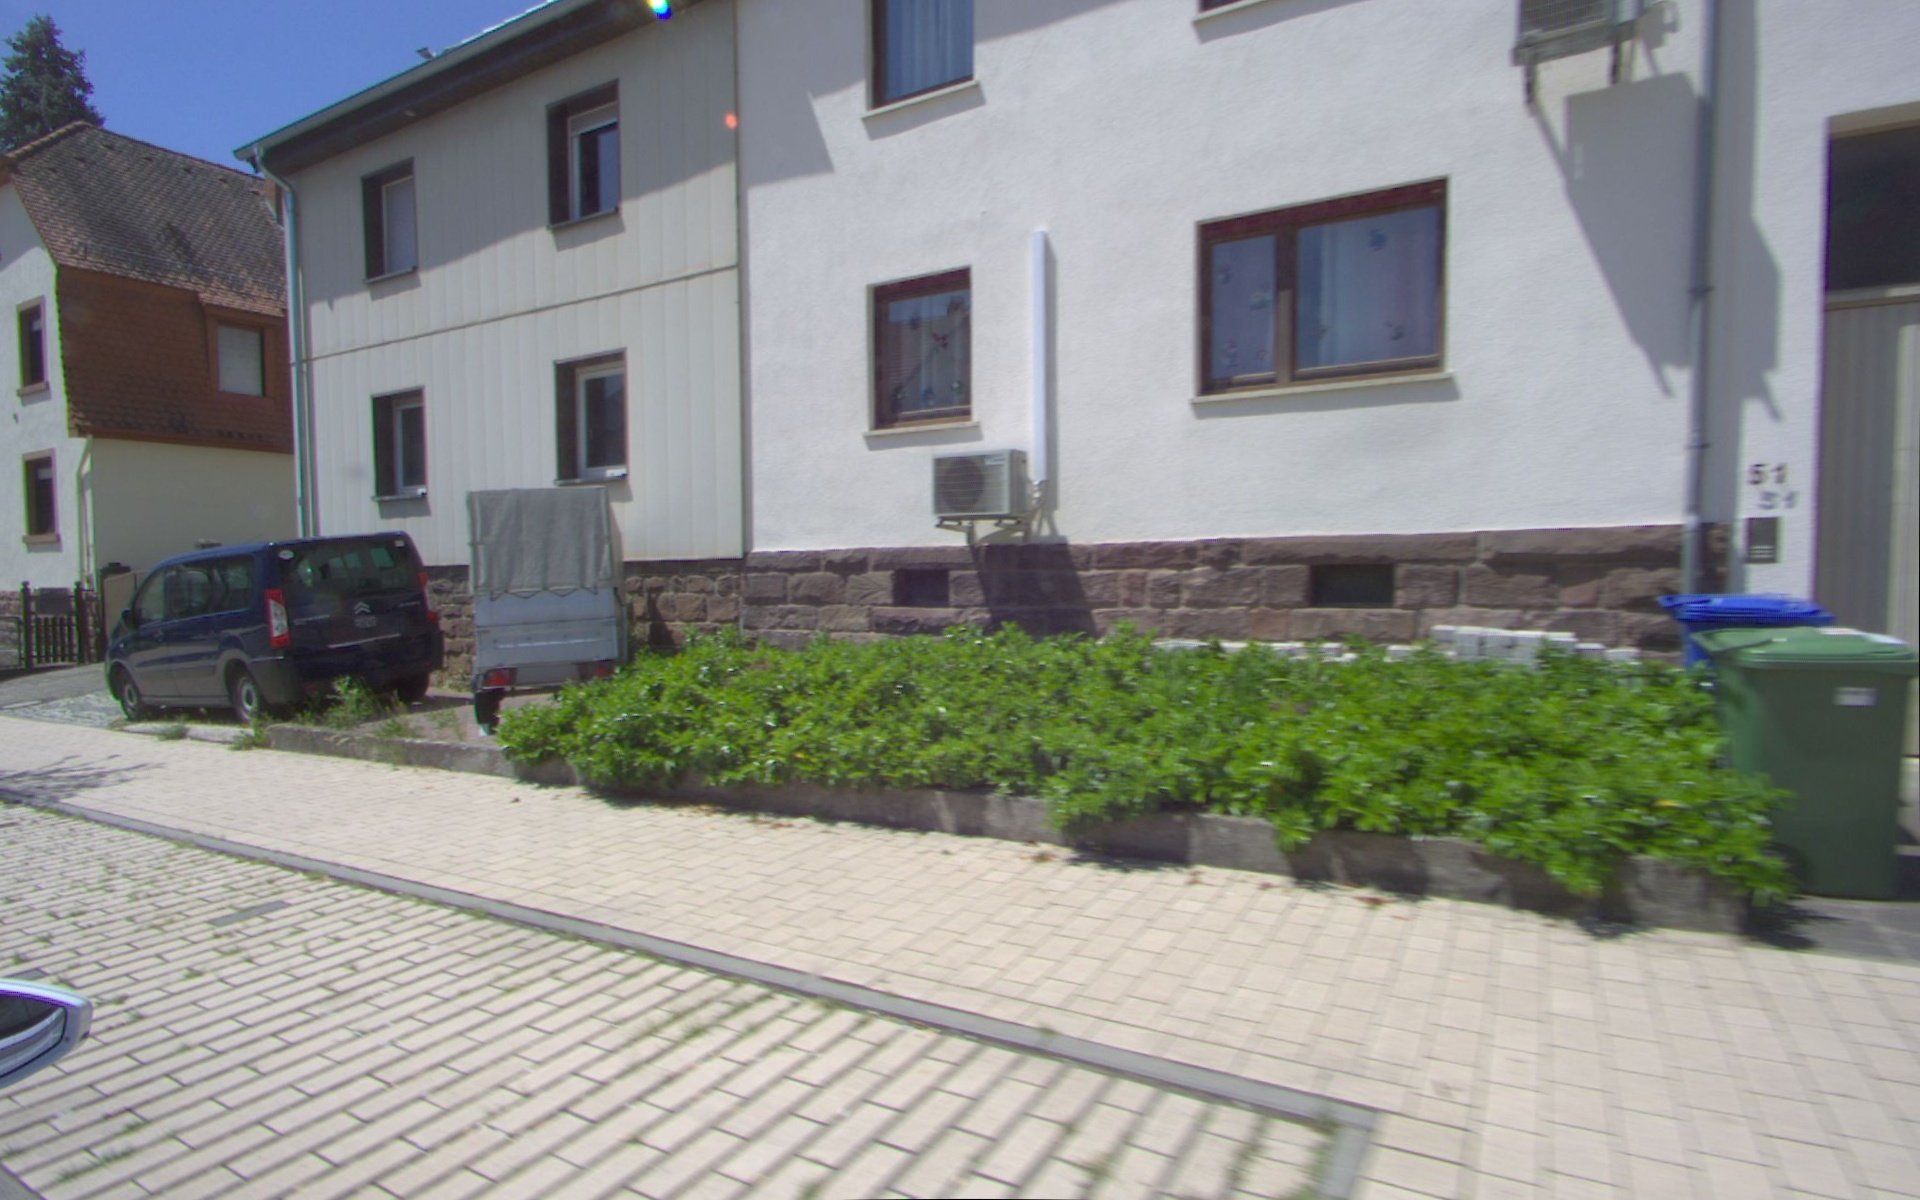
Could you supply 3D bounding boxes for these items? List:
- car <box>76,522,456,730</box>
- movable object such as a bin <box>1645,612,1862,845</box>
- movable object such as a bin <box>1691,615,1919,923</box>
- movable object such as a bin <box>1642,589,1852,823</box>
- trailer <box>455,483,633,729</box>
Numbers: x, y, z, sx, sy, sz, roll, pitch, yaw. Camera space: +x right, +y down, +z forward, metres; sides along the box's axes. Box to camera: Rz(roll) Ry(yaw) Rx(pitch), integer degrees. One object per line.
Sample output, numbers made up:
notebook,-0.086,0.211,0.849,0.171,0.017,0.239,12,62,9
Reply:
car,-8.238,0.236,11.774,4.705,1.999,1.846,-1,4,32
movable object such as a bin,3.864,0.584,4.916,0.793,1.000,0.555,-1,5,38
movable object such as a bin,3.617,0.659,4.264,0.802,1.131,0.681,-1,4,37
movable object such as a bin,4.264,0.531,5.469,0.852,1.122,0.682,-1,4,38
trailer,-3.872,0.068,9.591,1.301,2.040,2.270,0,0,-16
